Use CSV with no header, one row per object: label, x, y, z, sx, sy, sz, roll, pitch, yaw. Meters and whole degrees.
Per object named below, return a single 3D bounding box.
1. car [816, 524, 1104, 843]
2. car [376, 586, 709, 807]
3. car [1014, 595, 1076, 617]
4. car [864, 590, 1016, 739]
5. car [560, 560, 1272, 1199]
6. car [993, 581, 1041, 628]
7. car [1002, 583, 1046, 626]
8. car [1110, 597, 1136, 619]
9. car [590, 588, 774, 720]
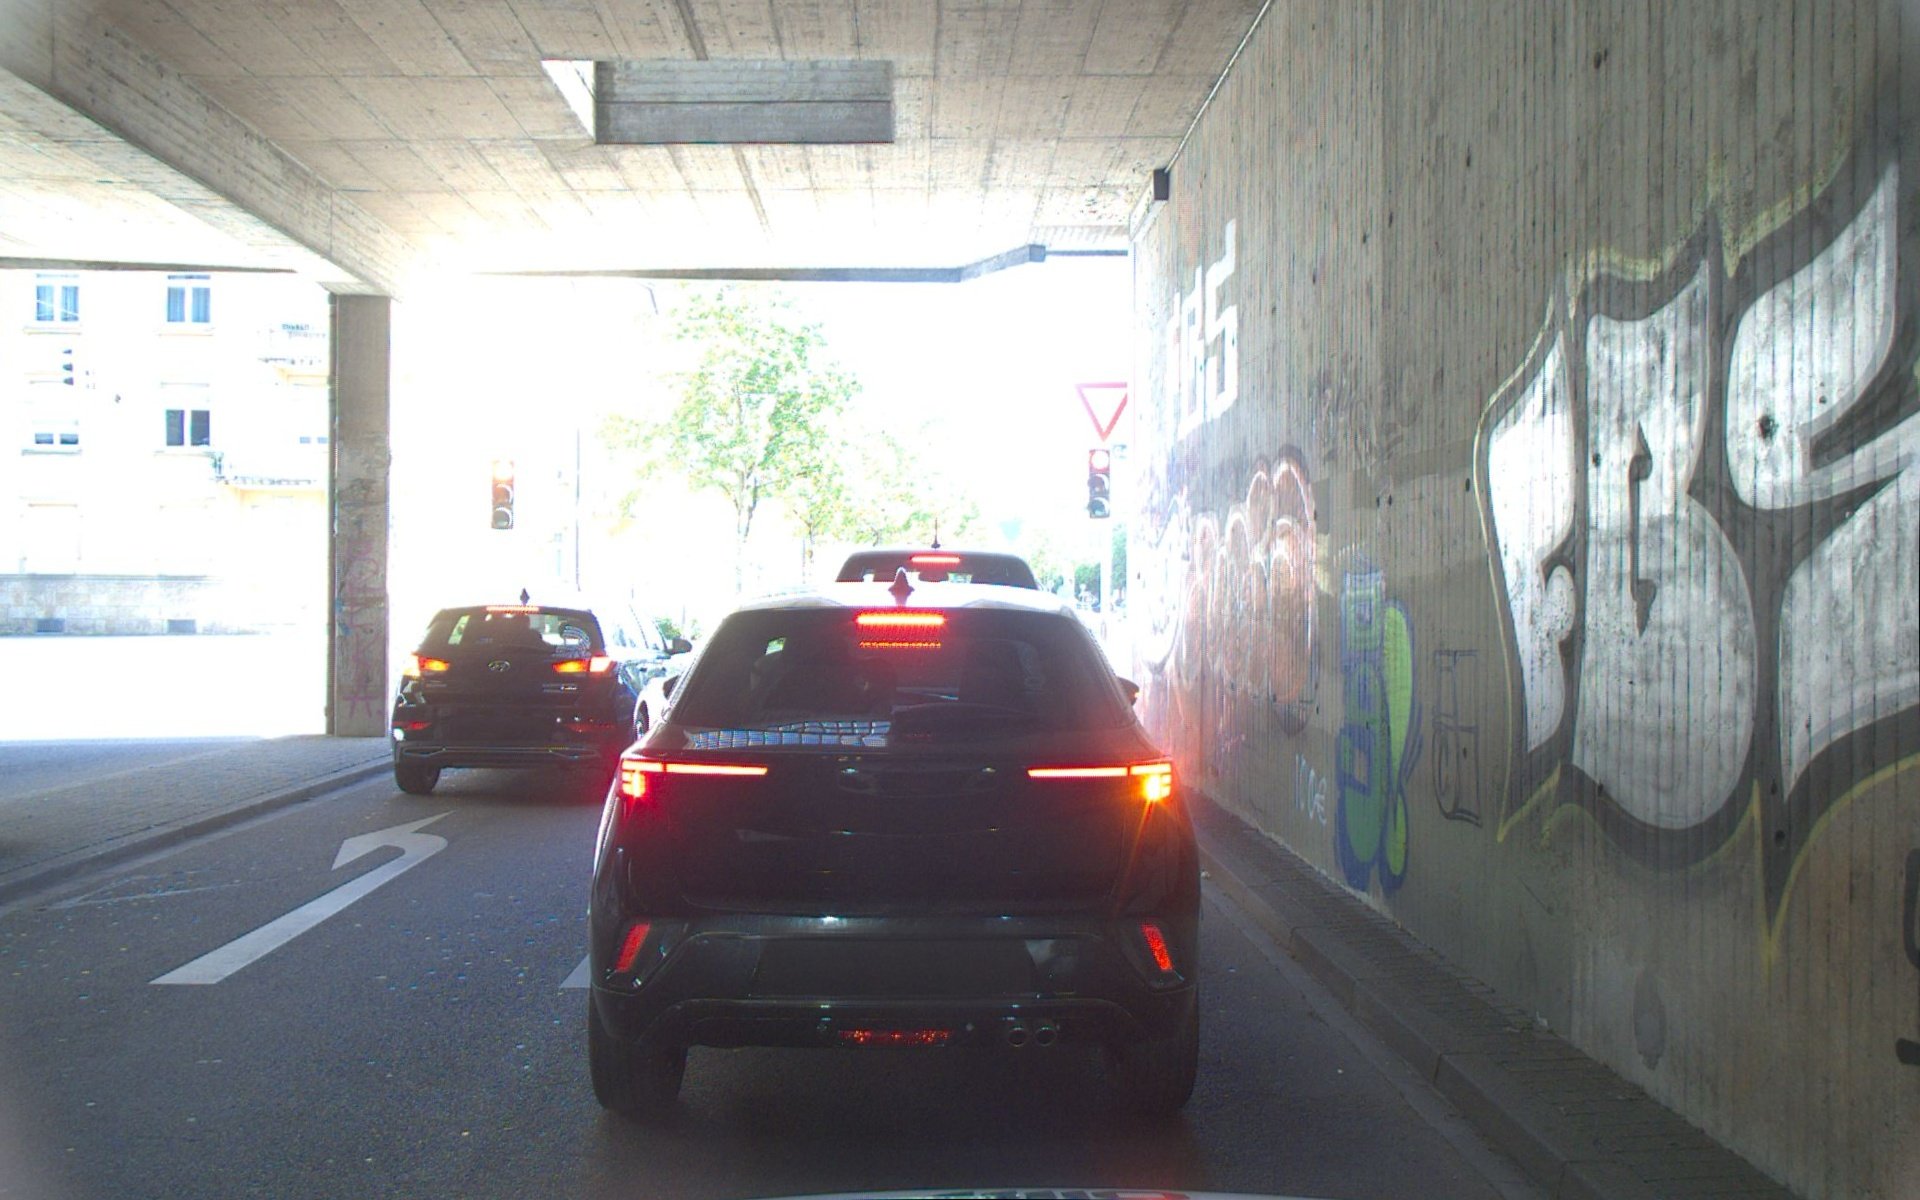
car,-0.027,0.499,12.022,1.726,1.915,4.145,0,0,-1
car,-3.143,0.654,13.219,1.726,1.506,3.843,0,0,-1
car,6.918,0.509,134.017,4.738,1.696,1.809,1,0,-25
car,-0.233,0.665,19.236,1.576,1.539,4.053,0,0,-1
car,-0.132,0.682,6.077,1.726,1.558,4.088,0,0,-1
car,2.180,0.173,62.216,1.717,1.696,3.946,1,0,3
car,2.669,0.206,68.342,1.717,1.696,3.946,1,0,3
car,12.564,0.622,127.468,1.716,1.696,3.948,1,0,10
car,-3.414,0.614,20.940,1.726,1.506,3.843,0,0,-1
